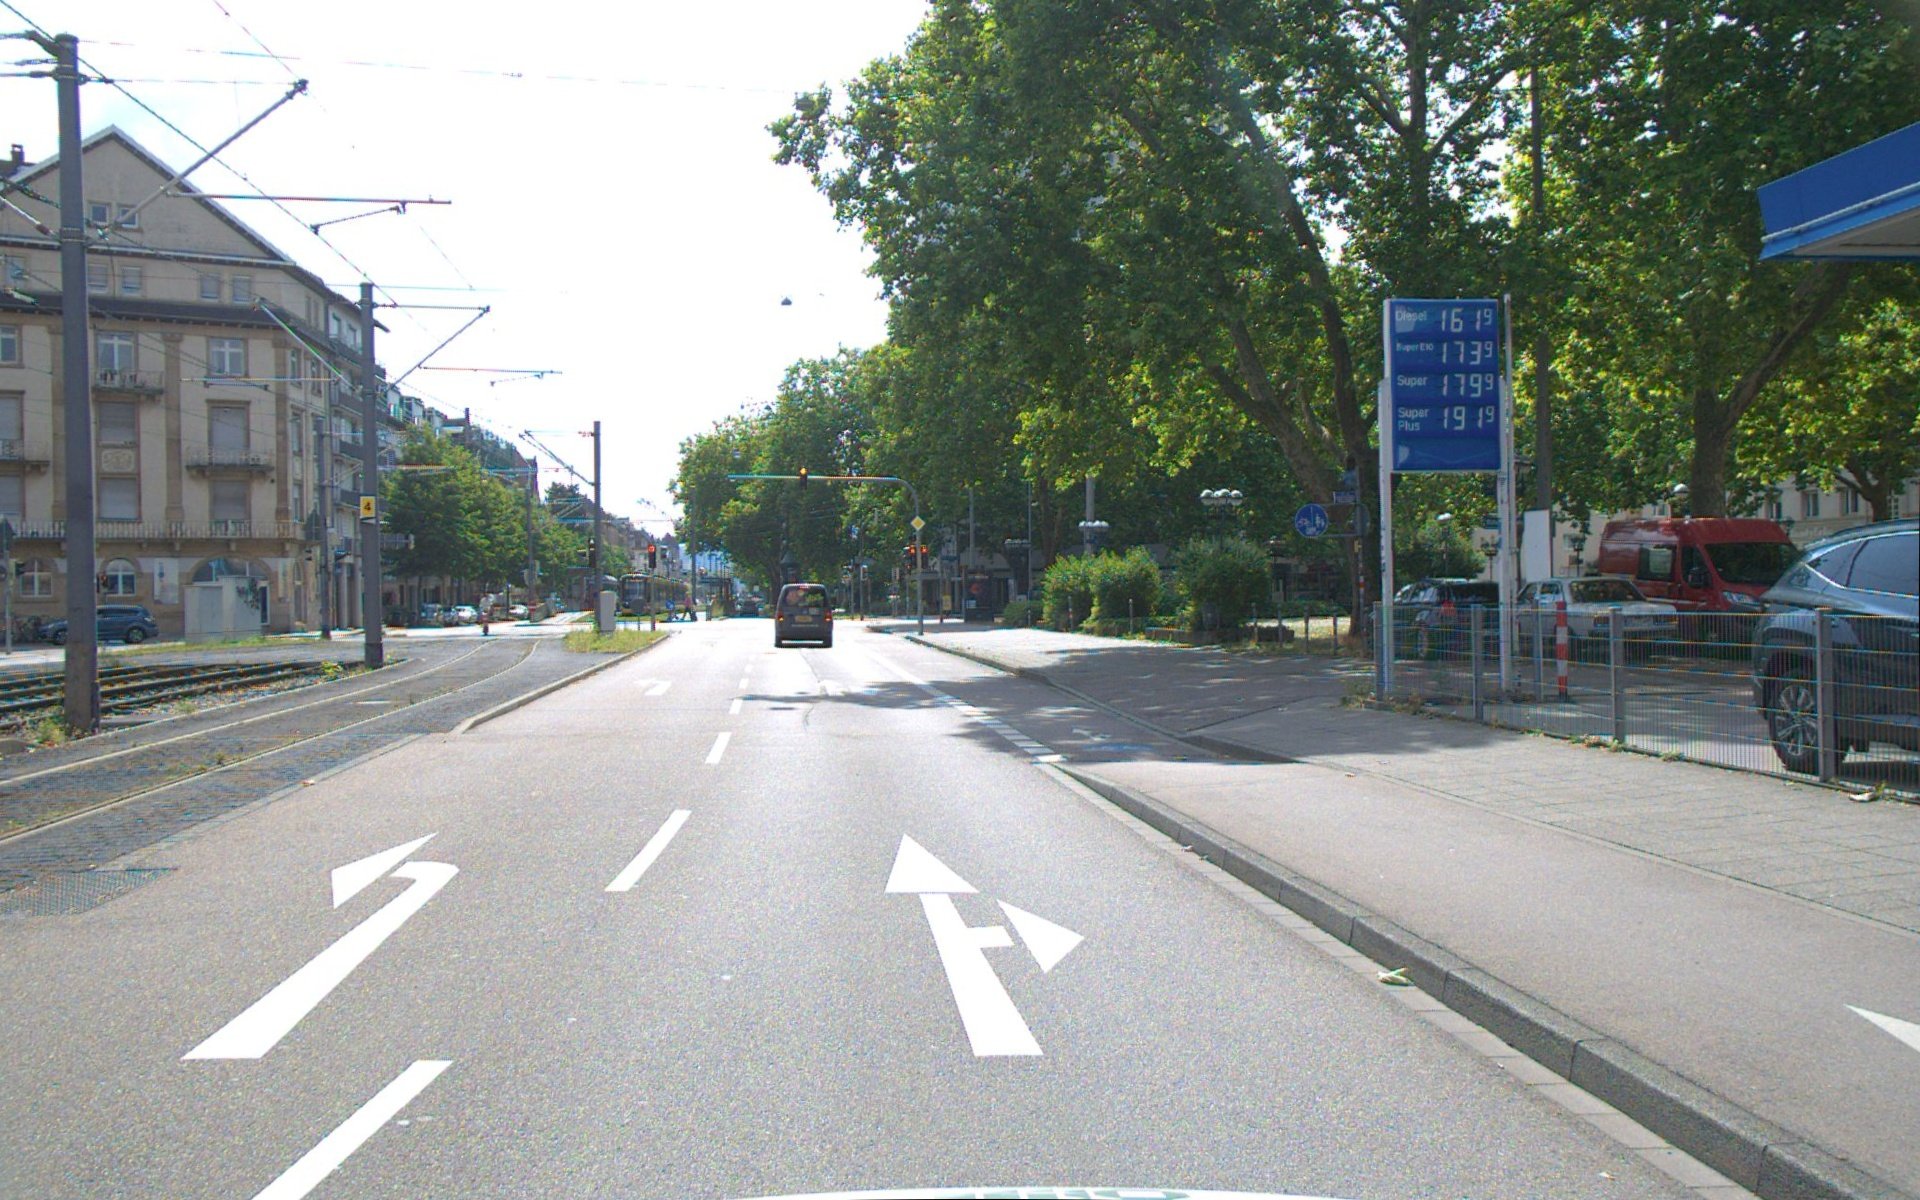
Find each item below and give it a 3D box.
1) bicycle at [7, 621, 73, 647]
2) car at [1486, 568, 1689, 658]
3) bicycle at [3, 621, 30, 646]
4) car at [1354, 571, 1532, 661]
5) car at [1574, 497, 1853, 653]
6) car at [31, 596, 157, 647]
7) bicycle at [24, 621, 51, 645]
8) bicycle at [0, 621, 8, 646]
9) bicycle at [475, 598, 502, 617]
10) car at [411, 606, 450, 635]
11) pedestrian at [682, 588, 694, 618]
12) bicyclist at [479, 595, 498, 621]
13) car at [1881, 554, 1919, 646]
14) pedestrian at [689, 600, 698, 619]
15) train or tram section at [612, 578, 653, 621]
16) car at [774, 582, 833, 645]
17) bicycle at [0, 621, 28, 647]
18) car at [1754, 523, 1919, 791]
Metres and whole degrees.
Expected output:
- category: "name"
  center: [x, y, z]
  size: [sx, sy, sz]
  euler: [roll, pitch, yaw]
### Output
- category: "bicycle"
  center: [-41.361, 1.511, 74.345]
  size: [2.536, 1.071, 0.674]
  euler: [-2, 0, -35]
- category: "car"
  center: [11.402, 0.217, 30.333]
  size: [1.619, 1.496, 4.033]
  euler: [-2, 0, -10]
- category: "bicycle"
  center: [-42.963, 1.517, 75.296]
  size: [0.797, 1.071, 2.534]
  euler: [-1, 0, -35]
- category: "car"
  center: [8.731, 0.268, 30.236]
  size: [1.618, 1.496, 4.036]
  euler: [-1, 0, -8]
- category: "car"
  center: [14.005, -0.452, 31.272]
  size: [2.070, 2.627, 6.013]
  euler: [-1, 0, -5]
- category: "car"
  center: [-37.864, 0.931, 72.334]
  size: [4.745, 2.049, 1.978]
  euler: [-2, 0, -33]
- category: "bicycle"
  center: [-42.273, 1.516, 75.794]
  size: [0.797, 1.071, 2.534]
  euler: [-1, 0, -35]
- category: "bicycle"
  center: [-43.650, 1.517, 74.854]
  size: [0.734, 1.071, 2.534]
  euler: [-1, 0, -35]
- category: "bicycle"
  center: [-27.806, 0.434, 97.513]
  size: [0.886, 1.066, 2.281]
  euler: [-1, 0, -34]
- category: "car"
  center: [-39.074, 1.466, 122.225]
  size: [1.955, 2.049, 3.994]
  euler: [-1, 0, -7]
- category: "pedestrian"
  center: [-16.246, 0.183, 98.673]
  size: [0.646, 1.815, 0.659]
  euler: [-1, 0, -7]
- category: "bicyclist"
  center: [-27.798, 0.476, 97.553]
  size: [0.771, 1.538, 0.988]
  euler: [-1, 0, -35]
- category: "car"
  center: [19.707, 0.005, 31.049]
  size: [1.967, 1.785, 4.647]
  euler: [0, 0, -5]
- category: "pedestrian"
  center: [-16.042, 0.570, 99.572]
  size: [0.454, 1.164, 0.434]
  euler: [-1, 0, -7]
- category: "train or tram section"
  center: [-27.432, -0.084, 139.088]
  size: [2.198, 3.389, 12.953]
  euler: [-1, 0, -6]
- category: "car"
  center: [-4.761, 0.384, 50.116]
  size: [1.717, 1.840, 3.470]
  euler: [0, 0, -6]
- category: "bicycle"
  center: [-42.189, 1.509, 72.819]
  size: [1.961, 1.134, 0.479]
  euler: [-2, 0, -44]
- category: "car"
  center: [6.754, 0.337, 9.571]
  size: [1.771, 1.630, 4.577]
  euler: [-1, 0, -6]
